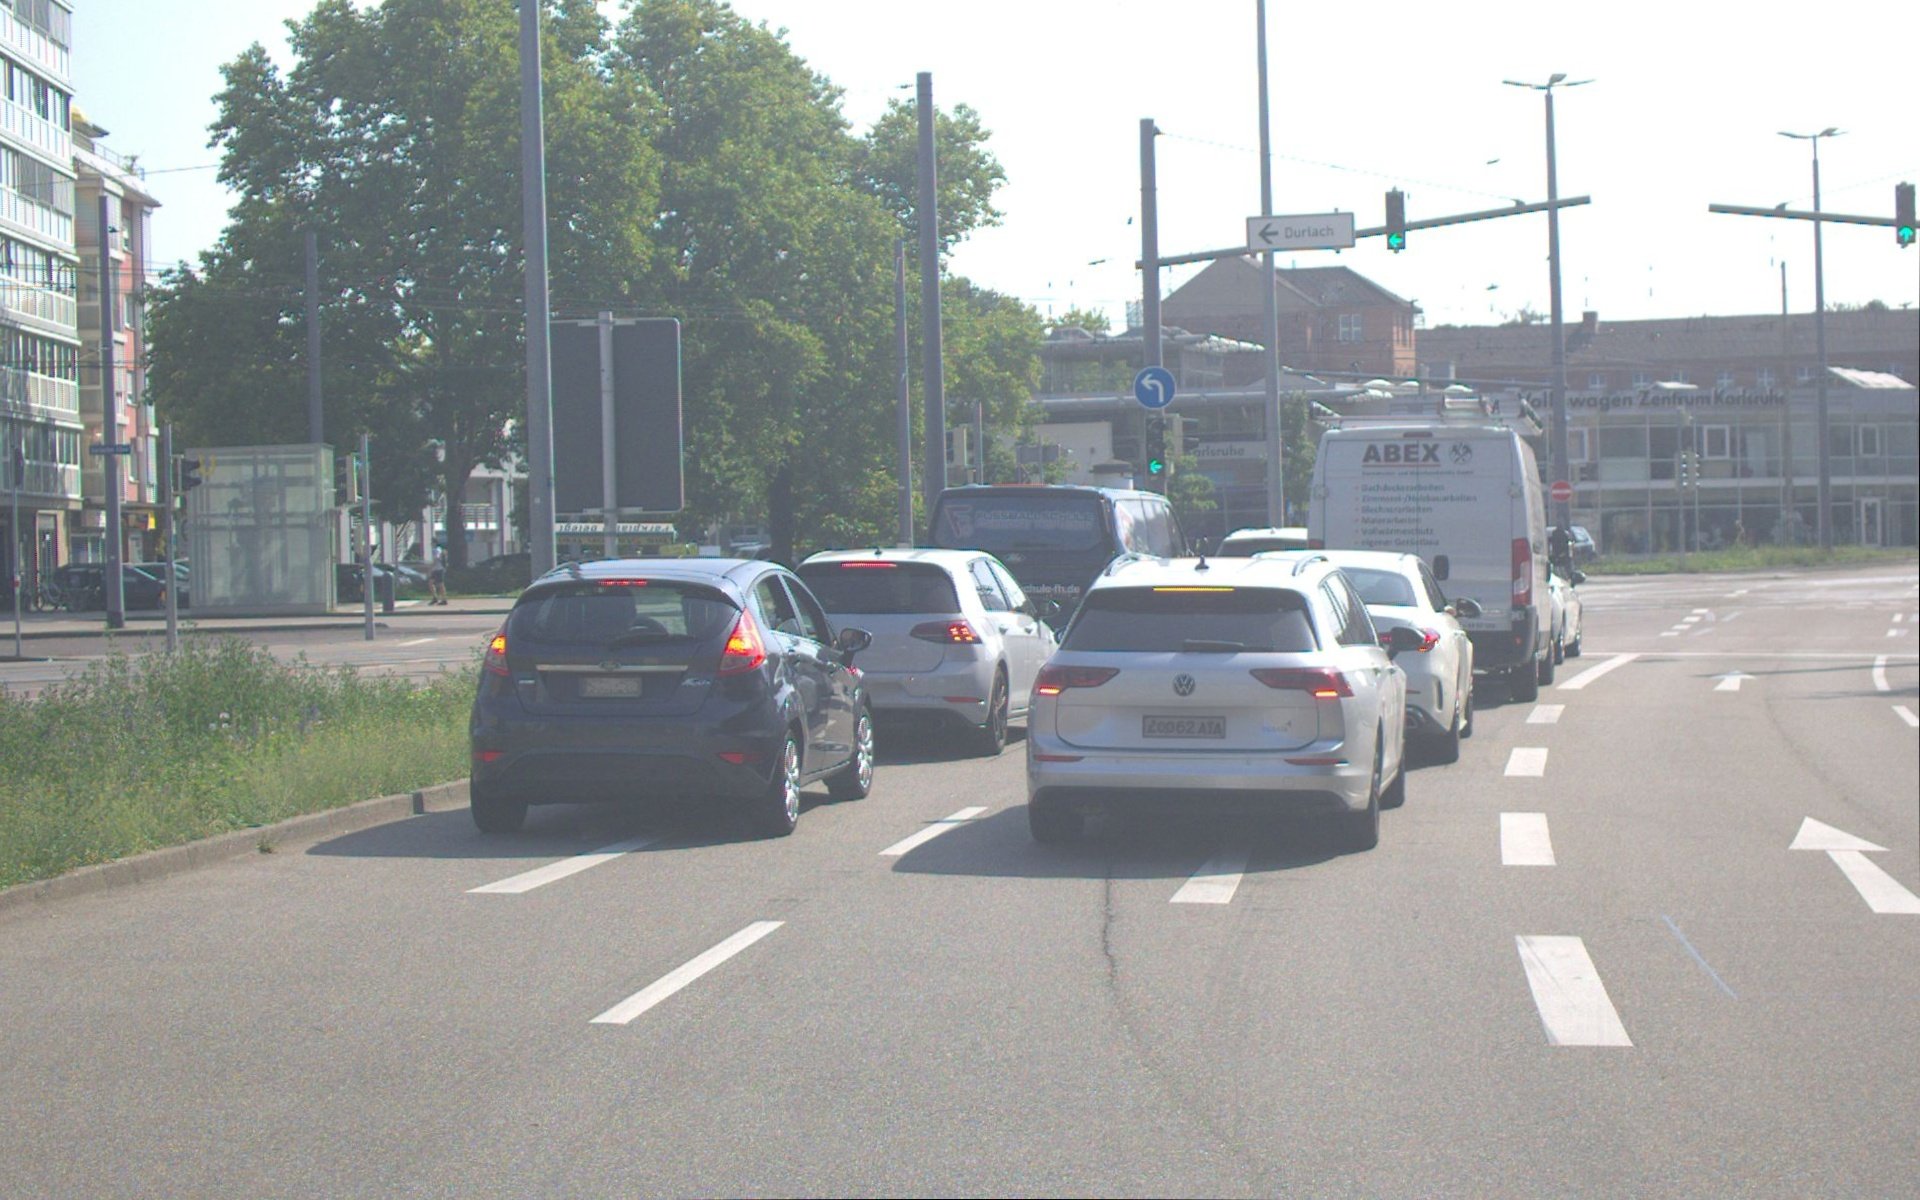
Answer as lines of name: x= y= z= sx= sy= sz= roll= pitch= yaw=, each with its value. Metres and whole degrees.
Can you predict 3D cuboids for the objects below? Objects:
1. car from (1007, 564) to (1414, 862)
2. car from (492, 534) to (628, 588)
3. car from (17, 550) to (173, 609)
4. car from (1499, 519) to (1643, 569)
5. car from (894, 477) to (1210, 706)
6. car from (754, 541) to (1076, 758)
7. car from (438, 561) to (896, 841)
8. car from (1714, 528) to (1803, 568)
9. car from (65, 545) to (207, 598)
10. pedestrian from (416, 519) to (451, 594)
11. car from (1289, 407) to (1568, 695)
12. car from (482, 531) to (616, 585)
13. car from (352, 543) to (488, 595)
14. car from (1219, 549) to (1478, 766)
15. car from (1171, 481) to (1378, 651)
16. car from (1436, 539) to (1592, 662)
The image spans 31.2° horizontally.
car: x=1.403 y=0.513 z=17.930 sx=1.685 sy=1.383 sz=3.632 roll=0 pitch=1 yaw=11
car: x=-12.535 y=-1.228 z=107.991 sx=3.987 sy=1.612 sz=1.813 roll=-1 pitch=1 yaw=2
car: x=-24.938 y=-0.601 z=99.200 sx=3.986 sy=1.552 sz=1.869 roll=-1 pitch=3 yaw=-1
car: x=17.807 y=-1.638 z=100.300 sx=3.966 sy=1.337 sz=1.930 roll=-1 pitch=1 yaw=6
car: x=0.970 y=-0.113 z=32.576 sx=2.025 sy=2.001 sz=4.681 roll=0 pitch=1 yaw=14
car: x=-0.249 y=0.309 z=24.994 sx=1.490 sy=1.410 sz=3.646 roll=-1 pitch=2 yaw=13
car: x=-1.500 y=0.484 z=19.075 sx=1.702 sy=1.363 sz=3.962 roll=0 pitch=1 yaw=8
car: x=30.768 y=-2.008 z=132.379 sx=1.997 sy=1.437 sz=3.992 roll=0 pitch=1 yaw=35
car: x=-25.457 y=-0.894 z=106.308 sx=3.986 sy=1.552 sz=1.869 roll=-1 pitch=1 yaw=-3
pedestrian: x=-14.364 y=-1.186 z=93.808 sx=0.822 sy=2.007 sz=0.509 roll=-1 pitch=1 yaw=0
car: x=4.557 y=-0.451 z=32.842 sx=2.190 sy=2.540 sz=4.681 roll=0 pitch=1 yaw=13
car: x=-13.122 y=-1.341 z=109.832 sx=3.987 sy=1.612 sz=1.813 roll=-1 pitch=1 yaw=2
car: x=-16.784 y=-0.971 z=106.948 sx=3.986 sy=1.552 sz=1.728 roll=-1 pitch=1 yaw=-3
car: x=2.804 y=0.356 z=24.225 sx=1.489 sy=1.398 sz=3.940 roll=0 pitch=1 yaw=11
car: x=3.989 y=-0.441 z=42.947 sx=2.024 sy=2.001 sz=4.681 roll=0 pitch=1 yaw=12
car: x=6.712 y=-0.021 z=41.397 sx=1.638 sy=1.398 sz=3.685 roll=0 pitch=1 yaw=12
